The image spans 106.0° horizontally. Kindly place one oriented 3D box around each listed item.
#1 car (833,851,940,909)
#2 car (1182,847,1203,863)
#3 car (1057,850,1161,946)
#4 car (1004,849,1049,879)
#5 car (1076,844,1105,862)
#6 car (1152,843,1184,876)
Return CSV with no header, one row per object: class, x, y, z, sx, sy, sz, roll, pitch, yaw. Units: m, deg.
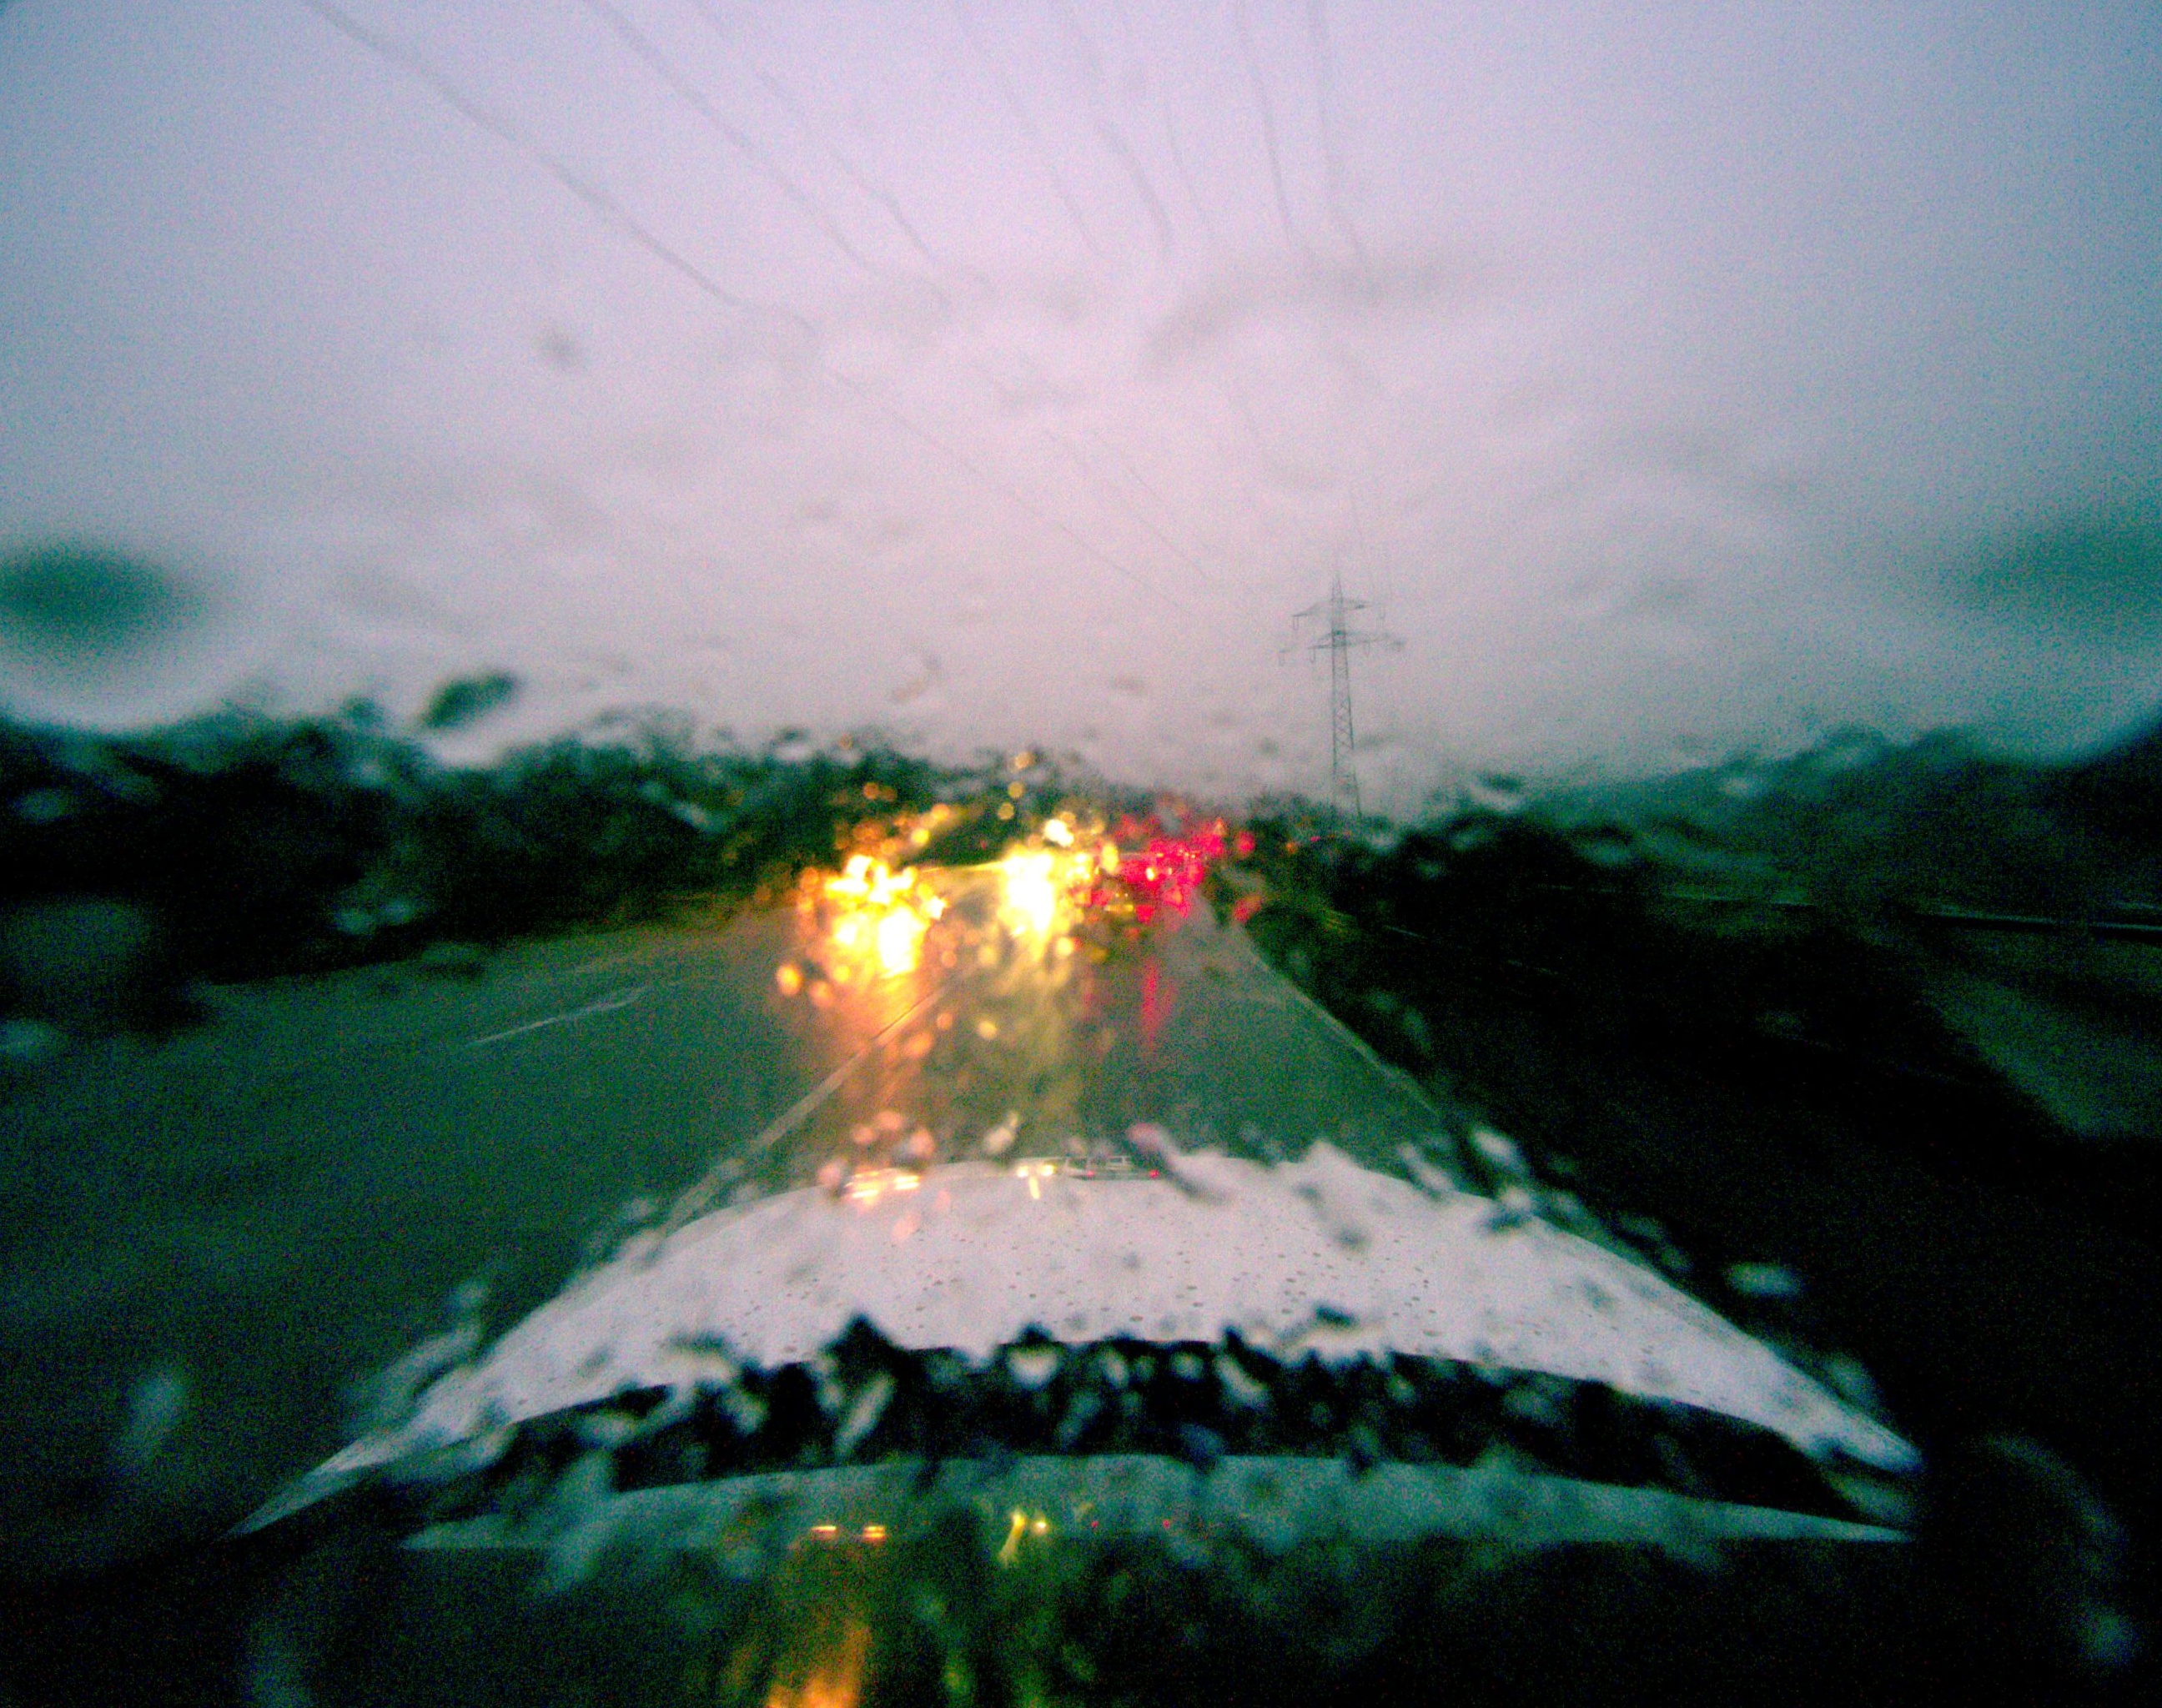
car,-5.686,0.699,24.373,1.628,1.472,4.457,2,1,6
car,12.666,0.072,92.288,1.933,1.745,4.013,-1,0,12
car,0.563,0.769,16.426,1.724,1.532,4.044,-5,1,2
car,-3.053,0.540,46.560,1.879,1.589,4.388,0,0,5
car,0.858,-0.056,70.130,1.982,1.490,4.392,0,0,8
car,5.818,0.325,54.219,1.936,2.013,4.008,-3,1,7
